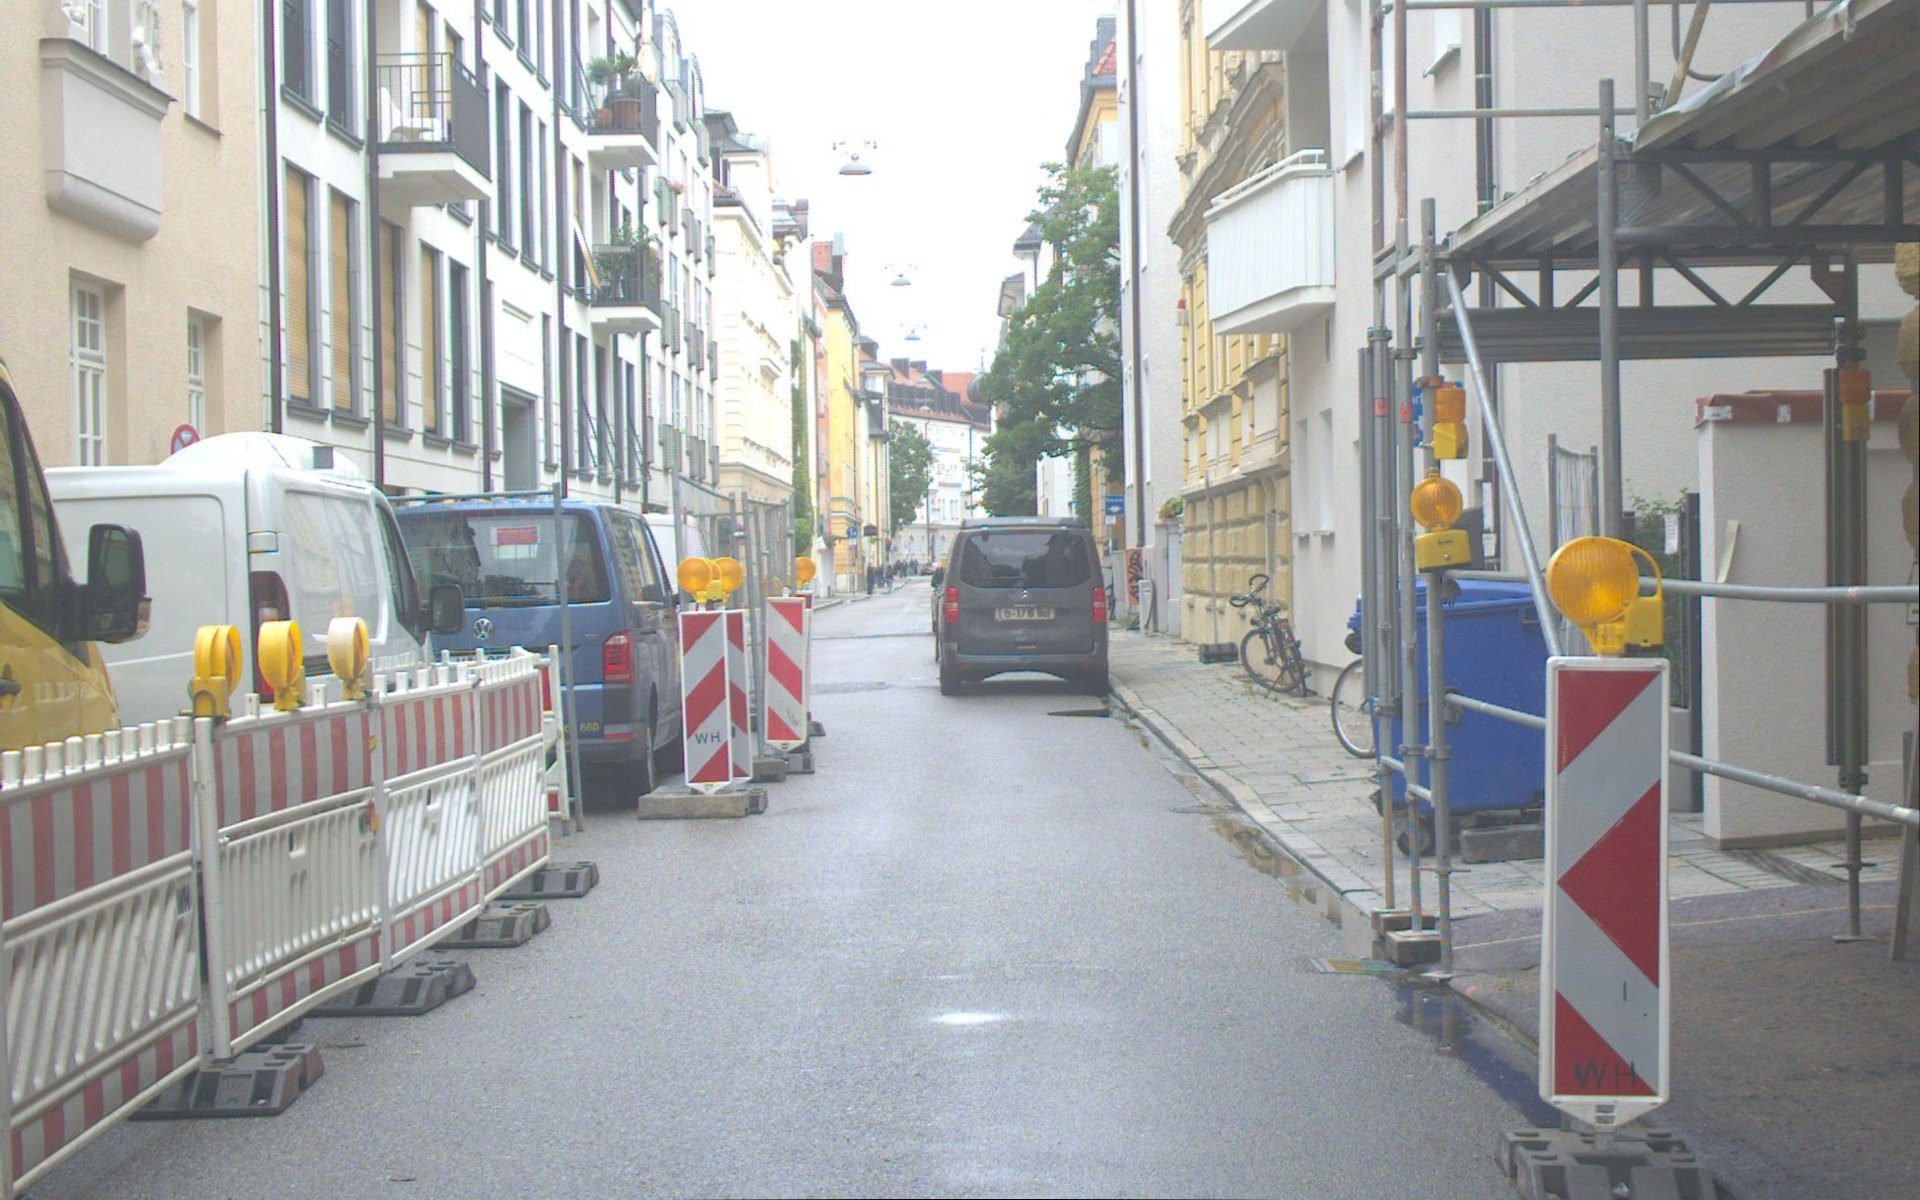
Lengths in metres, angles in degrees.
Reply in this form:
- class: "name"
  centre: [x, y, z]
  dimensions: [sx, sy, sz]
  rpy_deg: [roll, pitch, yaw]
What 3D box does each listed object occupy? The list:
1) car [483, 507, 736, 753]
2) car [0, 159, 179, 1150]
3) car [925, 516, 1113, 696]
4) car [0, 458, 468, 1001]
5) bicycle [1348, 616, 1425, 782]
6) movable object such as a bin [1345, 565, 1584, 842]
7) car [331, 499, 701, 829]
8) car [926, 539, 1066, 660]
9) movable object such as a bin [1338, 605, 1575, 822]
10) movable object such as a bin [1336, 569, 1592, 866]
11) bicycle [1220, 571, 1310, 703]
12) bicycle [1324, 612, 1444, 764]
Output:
- class: "car"
  centre: [-2.898, 0.215, 29.343]
  dimensions: [1.904, 1.891, 5.090]
  rpy_deg: [-1, 0, -3]
- class: "car"
  centre: [-3.473, 0.165, 7.555]
  dimensions: [1.993, 2.570, 6.737]
  rpy_deg: [-1, 1, -1]
- class: "car"
  centre: [0.614, 0.031, 39.472]
  dimensions: [1.993, 1.925, 4.660]
  rpy_deg: [0, 1, -1]
- class: "car"
  centre: [-3.387, 0.459, 14.653]
  dimensions: [1.917, 1.891, 4.791]
  rpy_deg: [-3, 1, -1]
- class: "bicycle"
  centre: [2.775, 0.625, 22.320]
  dimensions: [0.281, 0.988, 1.433]
  rpy_deg: [-4, 1, 13]
- class: "movable object such as a bin"
  centre: [2.692, 0.532, 18.384]
  dimensions: [1.126, 1.341, 1.171]
  rpy_deg: [-4, 1, 8]
- class: "car"
  centre: [-2.856, 0.356, 23.243]
  dimensions: [1.727, 1.891, 5.509]
  rpy_deg: [-3, 1, 0]
- class: "car"
  centre: [0.471, -0.040, 49.586]
  dimensions: [1.894, 1.635, 4.322]
  rpy_deg: [-1, 1, -1]
- class: "movable object such as a bin"
  centre: [2.788, 0.630, 19.335]
  dimensions: [1.211, 1.091, 0.789]
  rpy_deg: [-4, 1, 8]
- class: "movable object such as a bin"
  centre: [2.534, 0.565, 17.147]
  dimensions: [1.087, 1.341, 1.317]
  rpy_deg: [-4, 1, 13]
- class: "bicycle"
  centre: [2.884, 0.332, 32.658]
  dimensions: [0.638, 1.149, 1.915]
  rpy_deg: [-4, 1, 1]
- class: "bicycle"
  centre: [2.909, 0.590, 23.660]
  dimensions: [0.404, 0.988, 1.329]
  rpy_deg: [-4, 1, -9]
